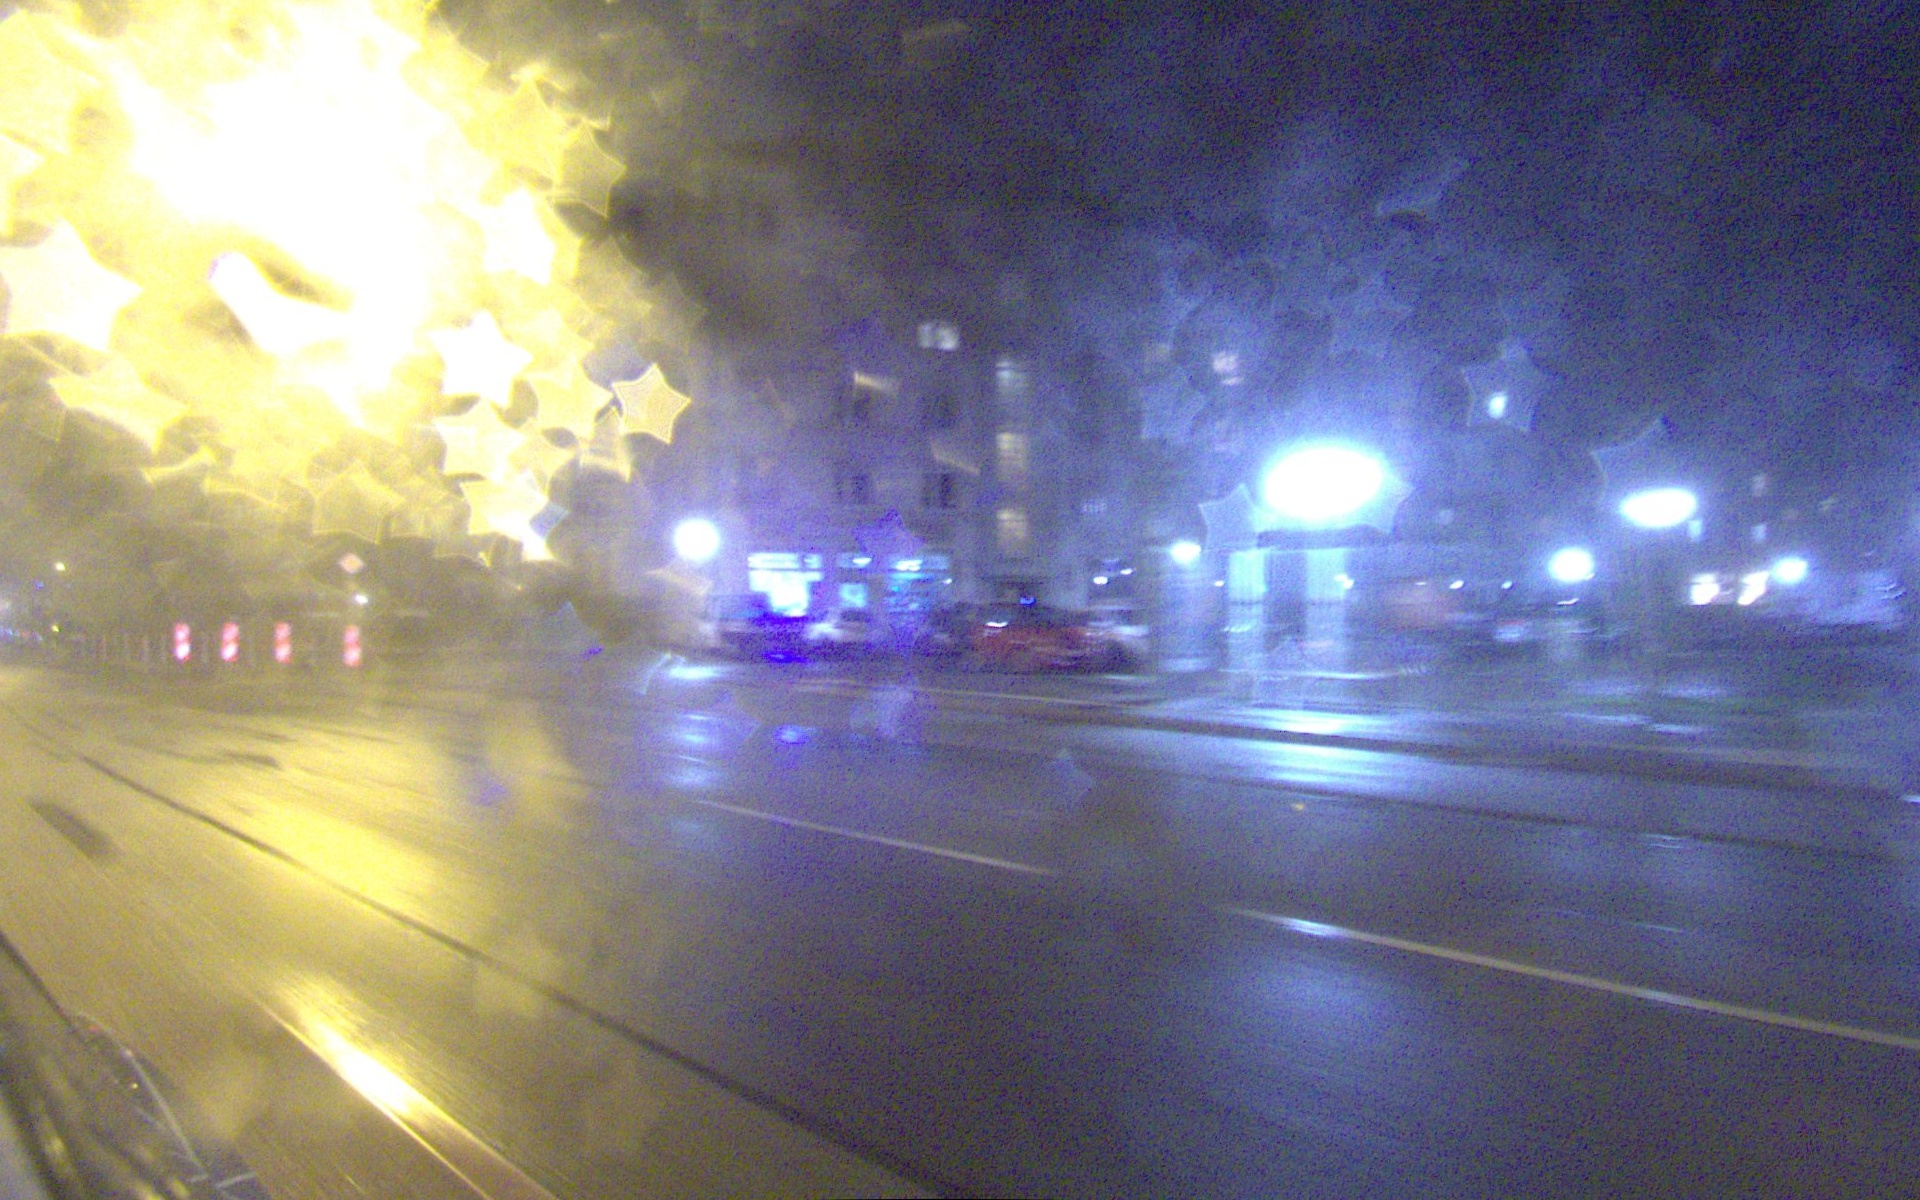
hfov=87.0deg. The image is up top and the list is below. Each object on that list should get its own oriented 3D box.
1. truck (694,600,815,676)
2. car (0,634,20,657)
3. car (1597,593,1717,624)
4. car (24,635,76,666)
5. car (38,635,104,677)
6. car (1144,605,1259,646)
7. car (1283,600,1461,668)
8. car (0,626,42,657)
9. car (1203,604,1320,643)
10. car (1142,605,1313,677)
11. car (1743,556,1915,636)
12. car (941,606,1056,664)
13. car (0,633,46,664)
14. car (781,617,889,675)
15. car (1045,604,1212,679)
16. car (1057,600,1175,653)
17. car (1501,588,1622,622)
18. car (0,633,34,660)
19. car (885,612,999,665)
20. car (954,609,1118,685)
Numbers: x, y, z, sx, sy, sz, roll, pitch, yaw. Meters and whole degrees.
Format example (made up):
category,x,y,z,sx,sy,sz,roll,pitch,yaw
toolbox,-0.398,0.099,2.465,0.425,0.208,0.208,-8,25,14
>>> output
category,x,y,z,sx,sy,sz,roll,pitch,yaw
truck,-6.237,1.110,30.164,2.093,2.029,5.278,-1,-2,-28
car,-64.813,3.077,68.637,1.415,1.471,3.376,4,-4,-44
car,34.477,0.441,50.182,1.838,1.454,4.508,-1,-1,-28
car,-42.759,2.349,47.508,4.068,1.384,1.580,-2,-1,44
car,-35.421,2.200,40.278,4.381,1.576,1.580,-2,-4,44
car,9.307,0.986,39.409,1.838,1.454,4.508,-1,-1,-28
car,10.122,0.819,25.161,1.689,1.532,3.931,-1,-1,-27
car,-51.006,2.248,54.843,4.260,1.617,1.580,-2,-4,44
car,11.921,0.929,40.320,1.838,1.454,4.508,-1,-1,-28
car,6.227,0.926,23.970,1.689,1.532,3.931,-1,-1,-27
car,31.479,-0.099,36.828,1.689,2.752,4.369,-1,-1,-27
car,1.213,1.149,34.188,1.838,1.808,4.508,-1,-1,-28
car,-47.457,2.443,51.109,4.276,1.498,1.580,-2,-4,44
car,-3.968,1.363,31.418,1.838,1.625,4.508,-1,-1,-28
car,3.703,0.894,22.952,1.689,1.532,3.931,-1,-1,-27
car,5.519,0.943,36.403,1.838,1.773,4.508,-1,-1,-28
car,27.860,0.263,47.018,1.838,1.454,4.508,-1,-1,-28
car,-61.128,3.001,65.406,3.373,1.632,1.458,-2,-8,42
car,-0.671,1.201,32.736,1.838,1.552,4.508,-1,-1,-28
car,1.527,0.957,21.718,1.689,1.442,3.931,-1,-1,-27
